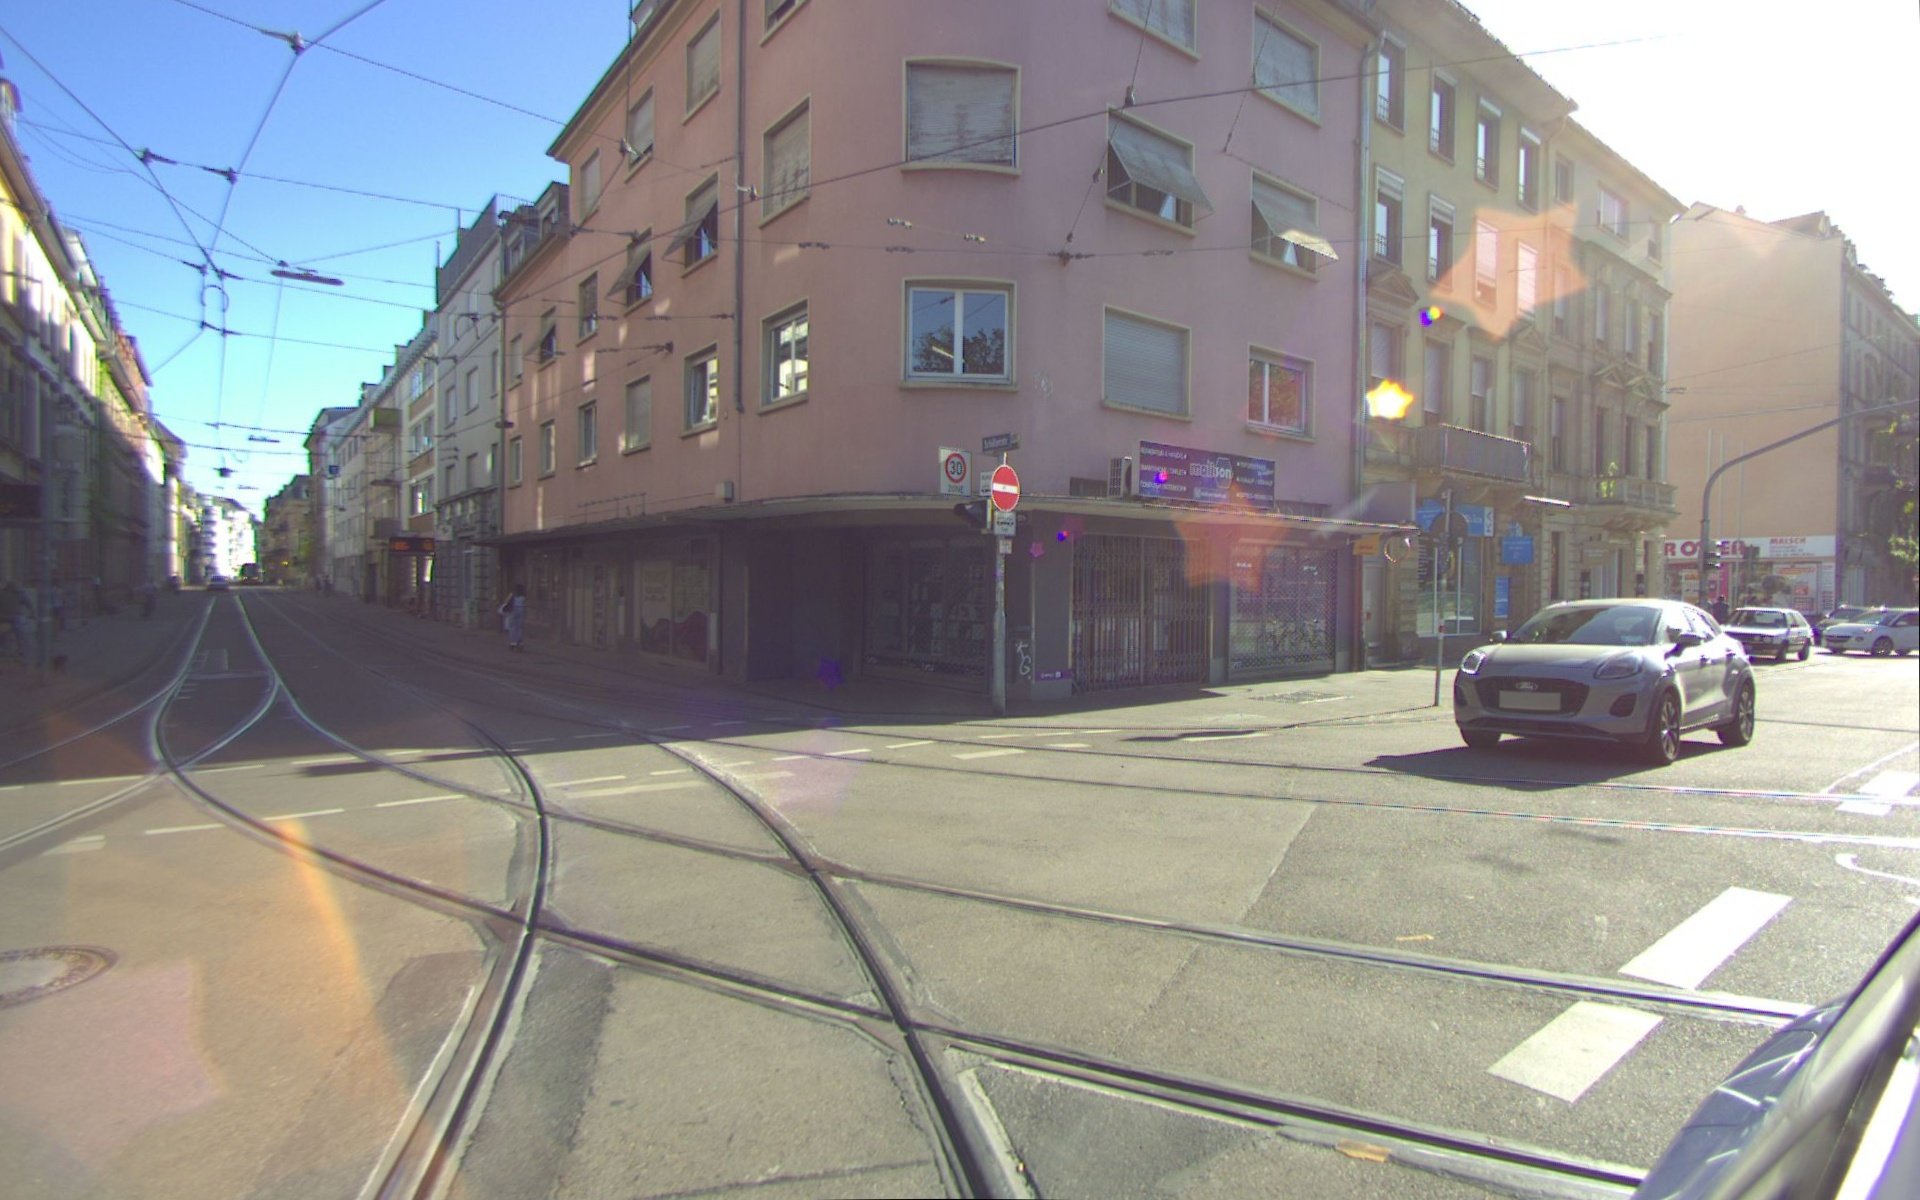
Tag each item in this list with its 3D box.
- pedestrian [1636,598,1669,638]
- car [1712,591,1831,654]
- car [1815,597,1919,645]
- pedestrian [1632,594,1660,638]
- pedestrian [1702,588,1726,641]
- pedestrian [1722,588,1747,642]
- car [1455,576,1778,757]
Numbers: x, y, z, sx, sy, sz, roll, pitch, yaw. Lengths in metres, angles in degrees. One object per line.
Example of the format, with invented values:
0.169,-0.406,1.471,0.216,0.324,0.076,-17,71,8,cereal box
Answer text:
21.191,0.550,30.974,0.485,1.185,0.661,0,0,-25,pedestrian
22.428,0.577,27.926,3.928,1.537,1.739,0,3,-39,car
29.843,0.652,32.102,3.921,1.469,1.818,0,-1,-3,car
20.298,0.460,29.928,0.647,1.275,0.495,0,0,-36,pedestrian
25.614,0.490,34.391,0.648,1.784,0.495,0,0,-39,pedestrian
25.891,0.493,33.826,0.648,1.784,0.495,0,0,-39,pedestrian
6.772,0.568,10.301,3.900,1.500,1.659,0,-1,-40,car
